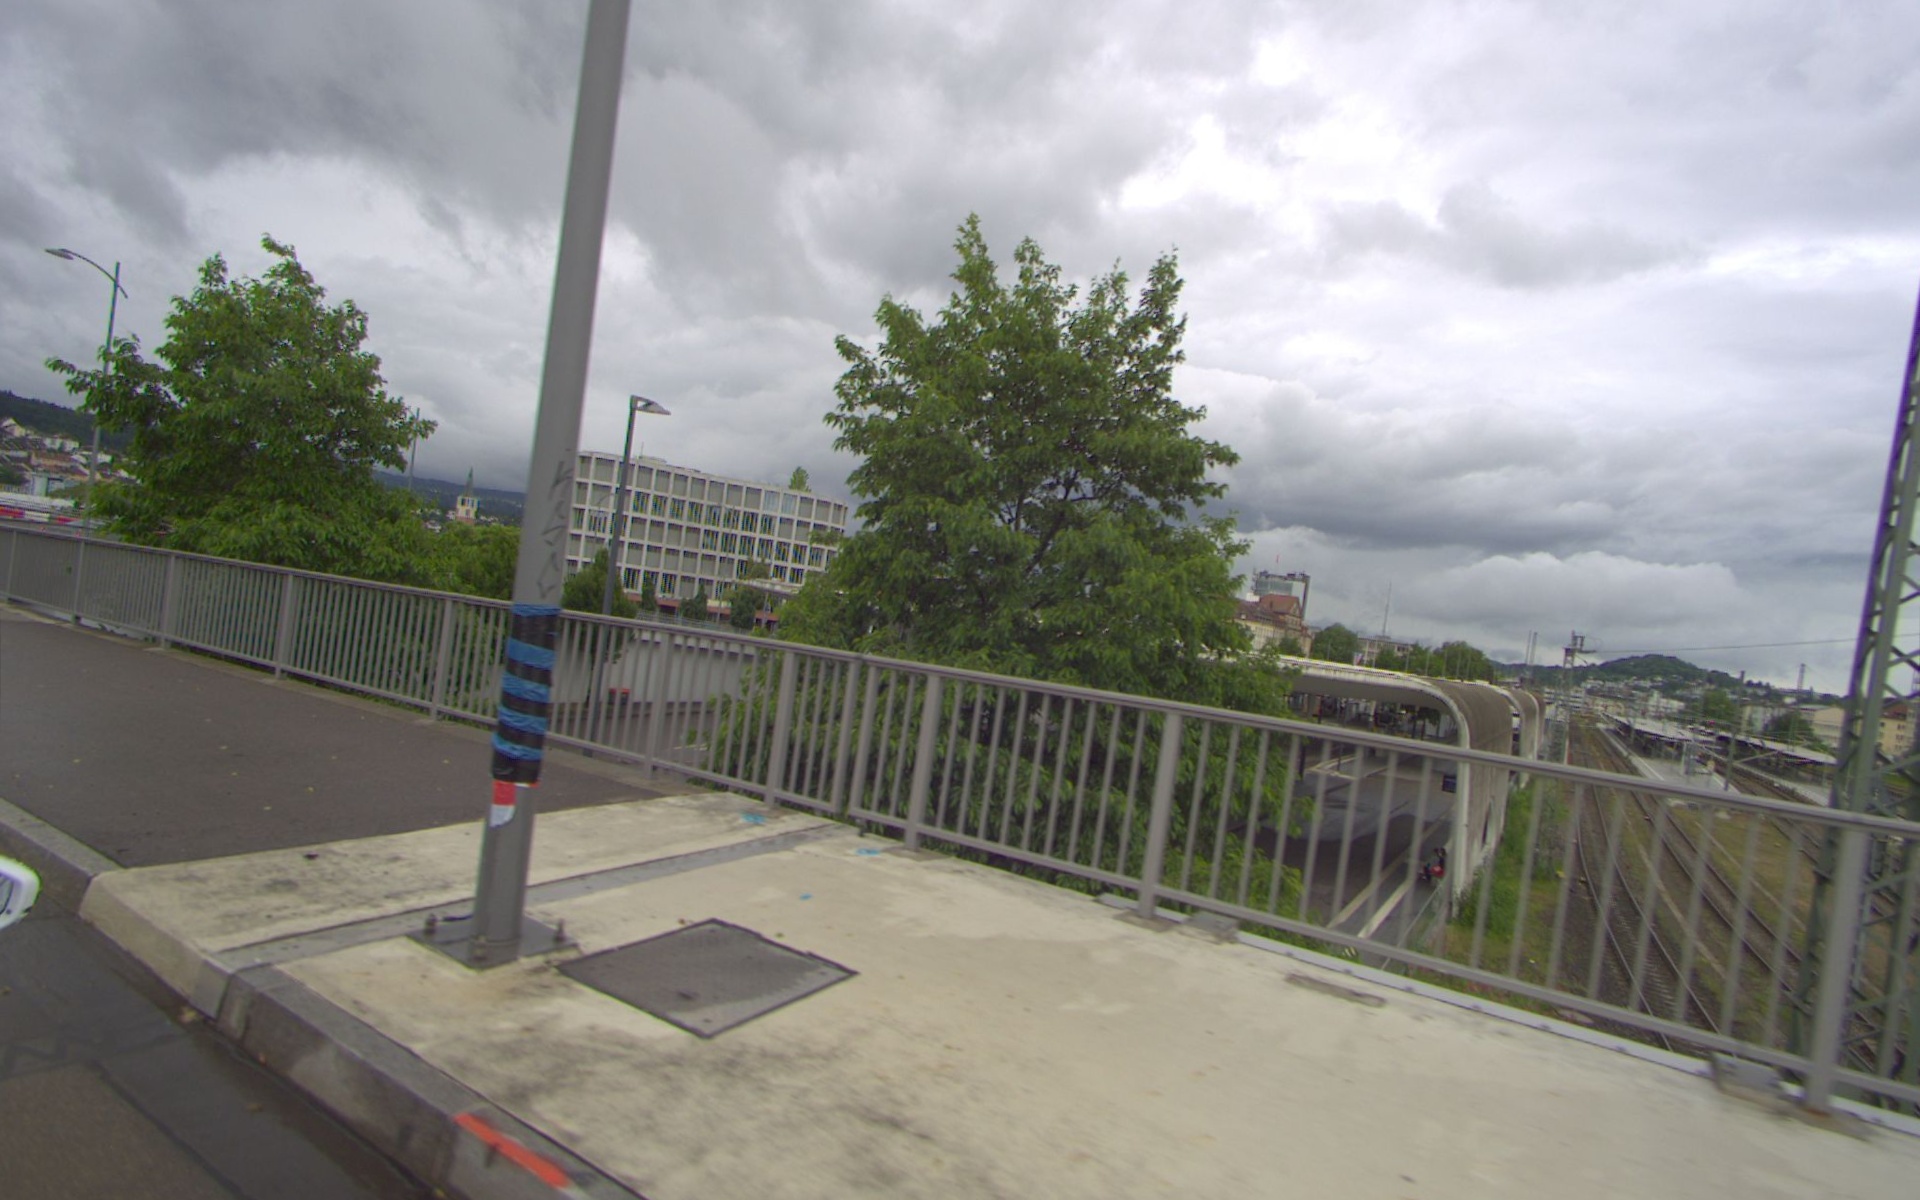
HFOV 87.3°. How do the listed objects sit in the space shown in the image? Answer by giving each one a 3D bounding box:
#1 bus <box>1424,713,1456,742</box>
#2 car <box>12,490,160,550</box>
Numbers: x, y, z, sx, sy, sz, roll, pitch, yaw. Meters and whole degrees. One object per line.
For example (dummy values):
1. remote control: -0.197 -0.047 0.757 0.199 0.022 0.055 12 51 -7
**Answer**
1. bus: 63.053 16.753 132.045 2.566 3.247 6.981 8 -1 34
2. car: -30.250 -2.730 34.976 1.680 1.436 3.728 8 -2 2
